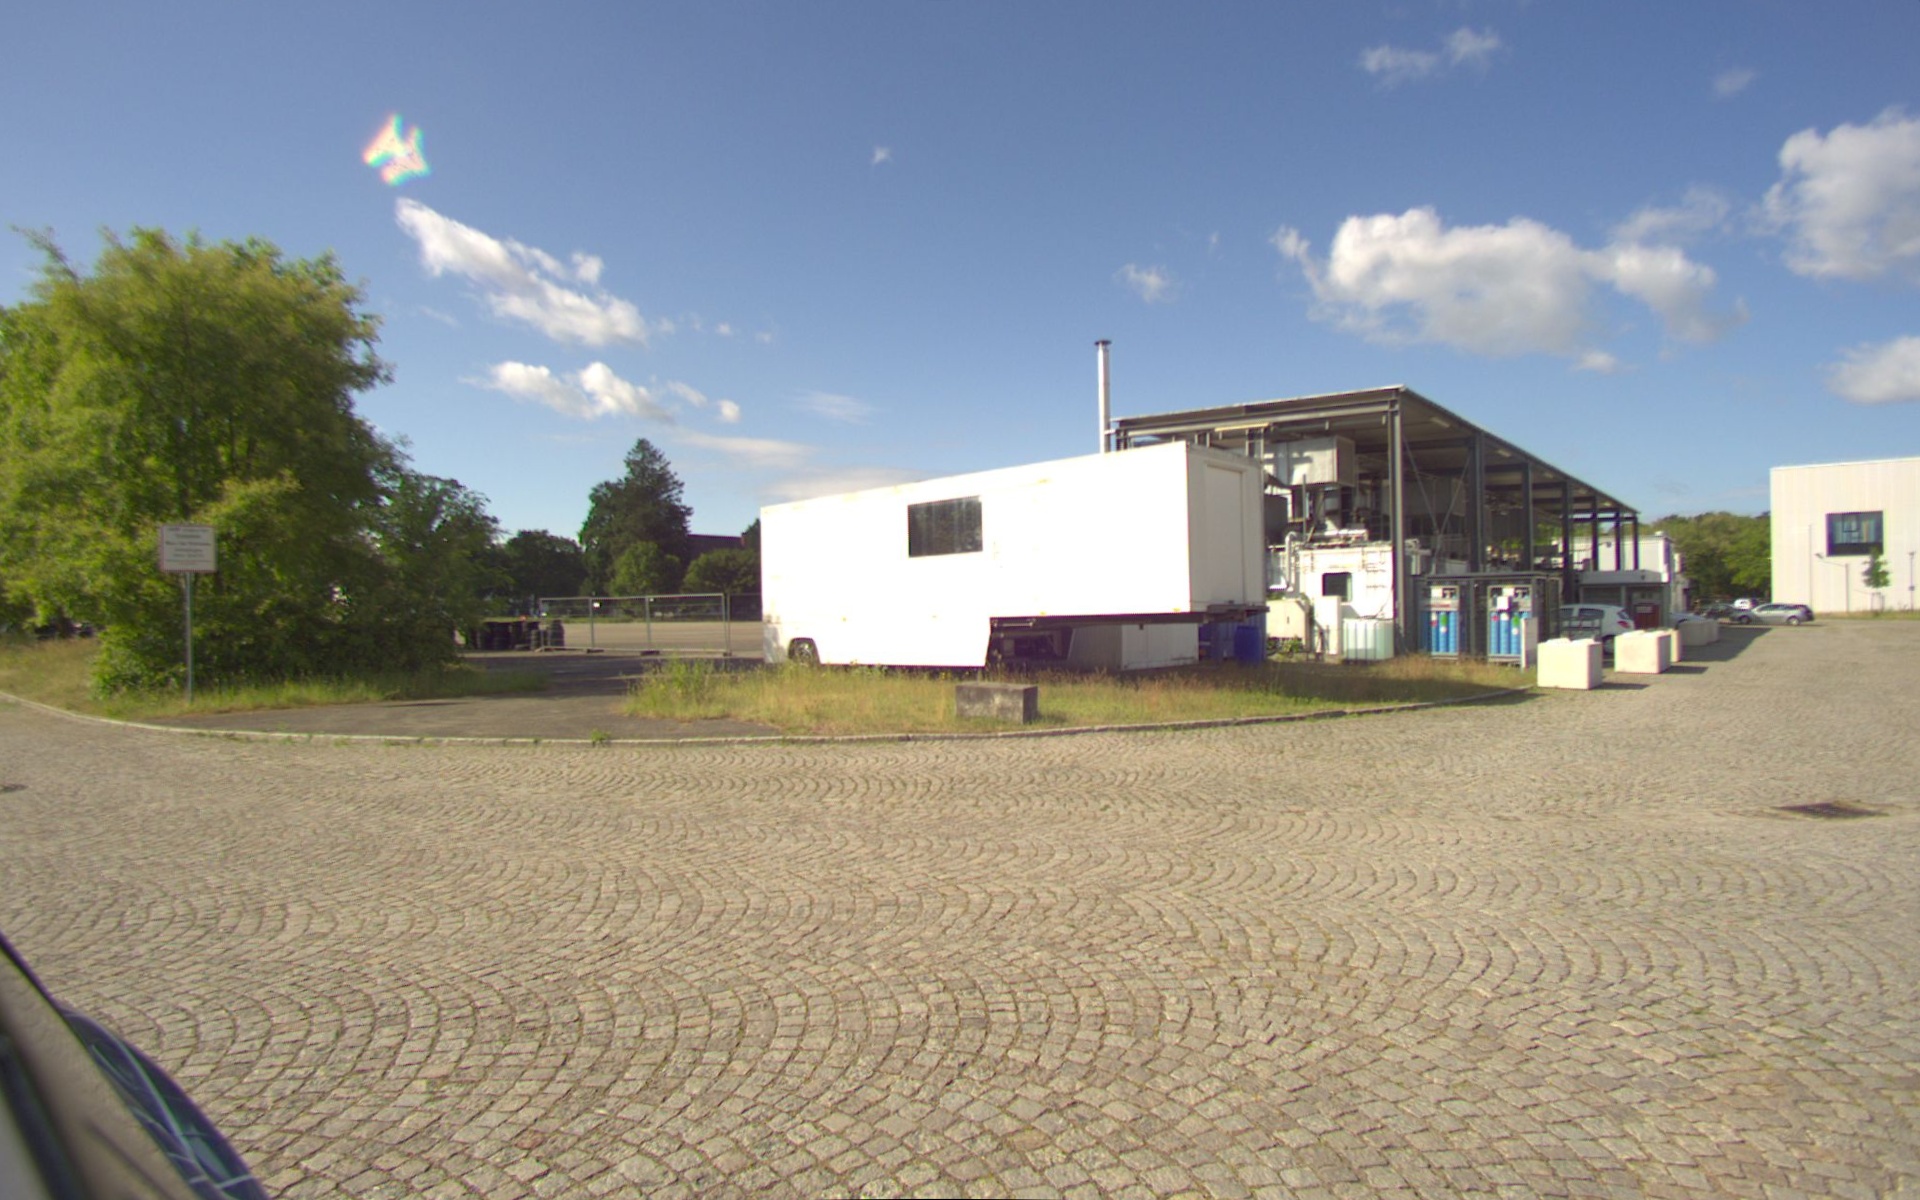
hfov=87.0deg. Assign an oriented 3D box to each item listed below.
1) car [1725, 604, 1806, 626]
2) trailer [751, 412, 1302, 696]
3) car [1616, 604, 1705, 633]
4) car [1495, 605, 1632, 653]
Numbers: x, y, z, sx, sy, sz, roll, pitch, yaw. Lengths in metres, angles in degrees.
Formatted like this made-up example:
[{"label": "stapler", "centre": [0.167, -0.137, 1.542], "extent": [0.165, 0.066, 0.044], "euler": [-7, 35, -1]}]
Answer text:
[{"label": "car", "centre": [54.235, 1.034, 68.210], "extent": [4.183, 1.414, 1.718], "euler": [-1, -1, 39]}, {"label": "trailer", "centre": [0.495, -0.539, 18.760], "extent": [10.885, 3.940, 2.742], "euler": [-1, -1, 43]}, {"label": "car", "centre": [35.927, 0.952, 51.938], "extent": [3.692, 1.419, 1.654], "euler": [-1, -1, 38]}, {"label": "car", "centre": [18.487, 0.889, 31.041], "extent": [3.468, 1.386, 1.591], "euler": [-1, -1, 37]}]
